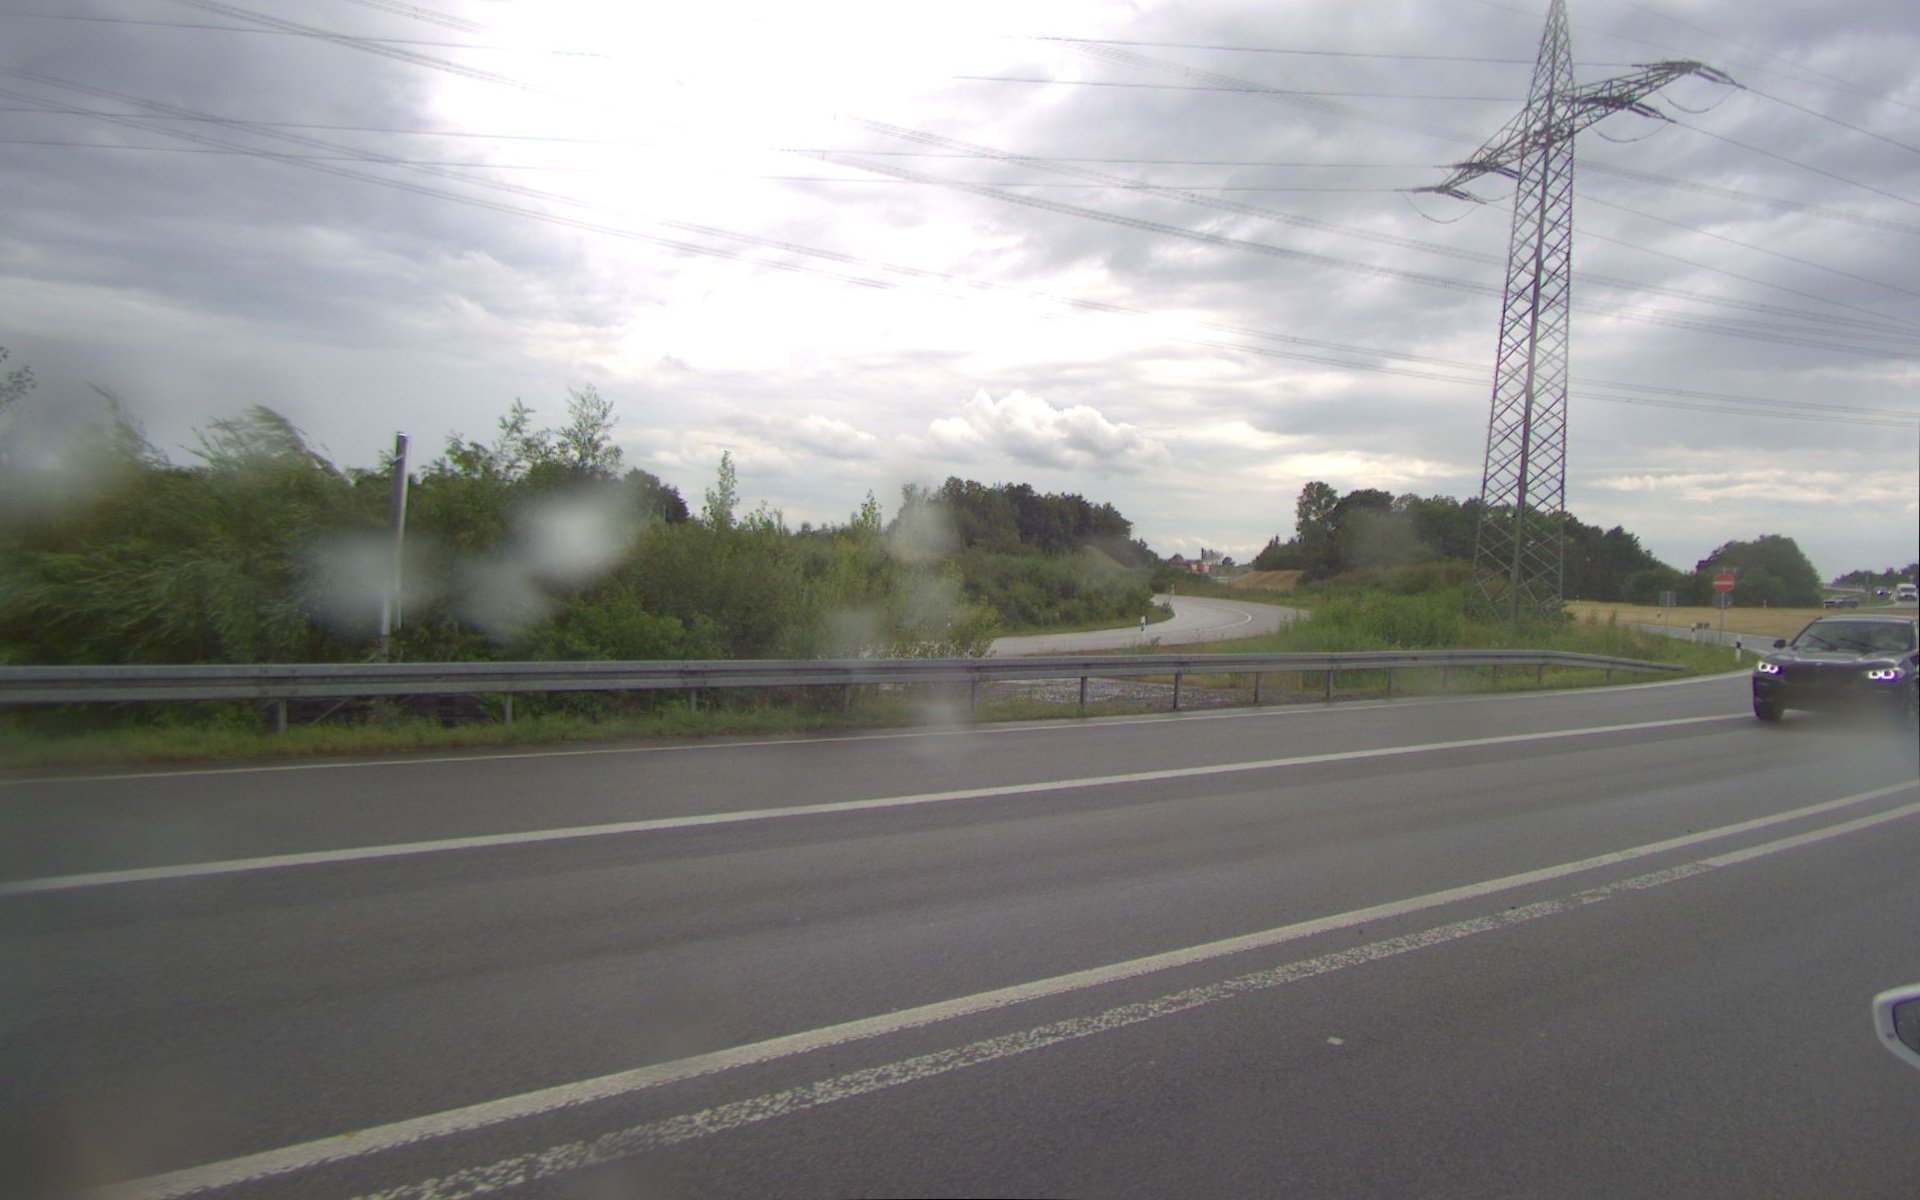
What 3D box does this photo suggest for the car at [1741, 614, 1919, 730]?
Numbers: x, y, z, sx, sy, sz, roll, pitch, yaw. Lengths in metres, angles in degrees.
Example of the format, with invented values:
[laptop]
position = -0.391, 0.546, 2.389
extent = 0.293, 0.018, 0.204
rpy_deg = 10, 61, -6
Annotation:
[car]
position = 14.285, 1.067, 15.986
extent = 4.217, 1.595, 1.788
rpy_deg = 2, -1, -35
